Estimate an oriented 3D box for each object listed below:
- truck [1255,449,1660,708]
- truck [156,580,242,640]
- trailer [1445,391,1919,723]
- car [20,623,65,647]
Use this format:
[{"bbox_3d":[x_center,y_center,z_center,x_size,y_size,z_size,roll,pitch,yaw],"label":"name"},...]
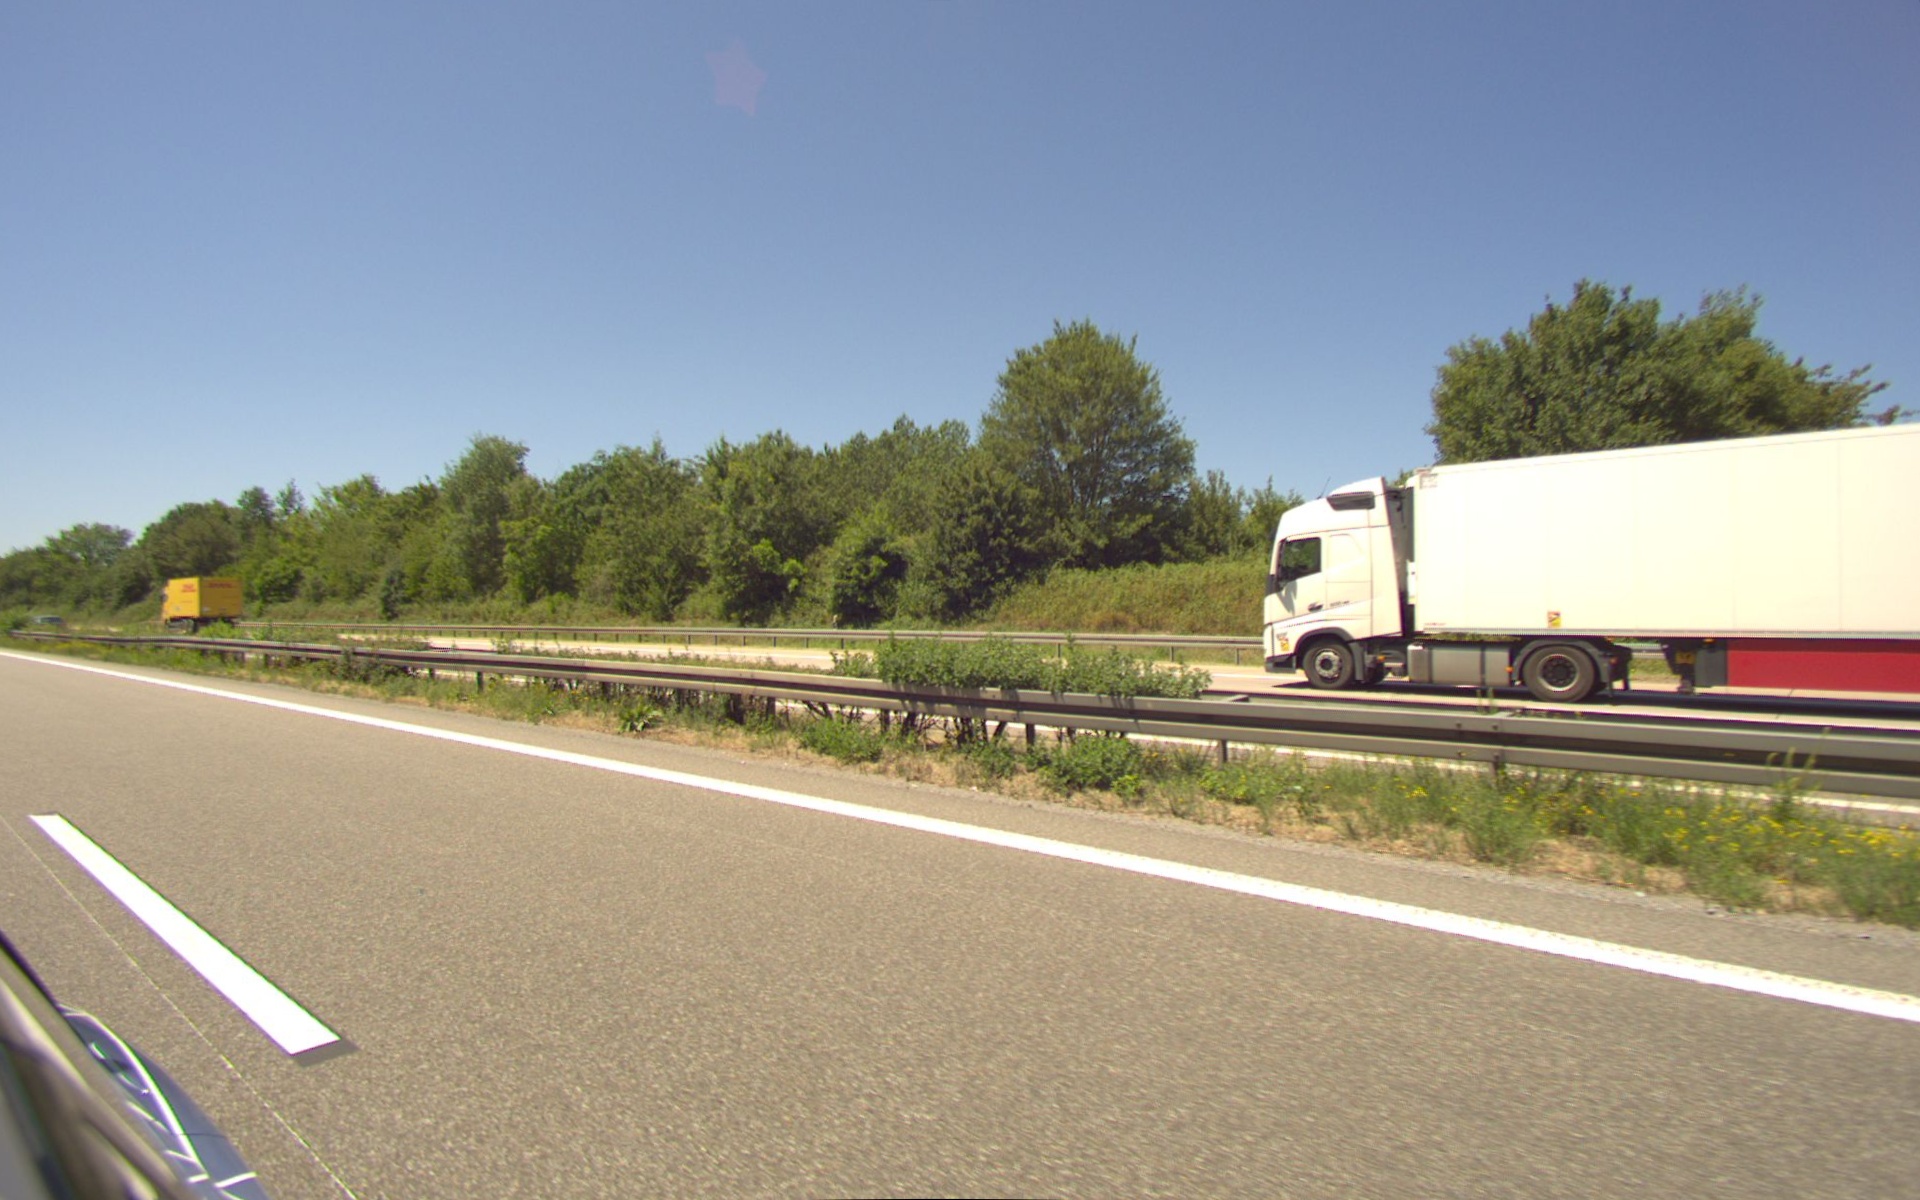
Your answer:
[{"bbox_3d":[9.072,-0.311,18.797,6.099,3.981,3.226,-1,0,42],"label":"truck"},{"bbox_3d":[-55.206,0.691,73.296,10.785,4.071,2.721,0,0,41],"label":"truck"},{"bbox_3d":[14.463,-0.581,14.007,13.582,4.395,3.276,-1,-1,42],"label":"trailer"},{"bbox_3d":[-62.840,2.386,69.306,3.977,1.583,1.764,-1,-1,40],"label":"car"}]
